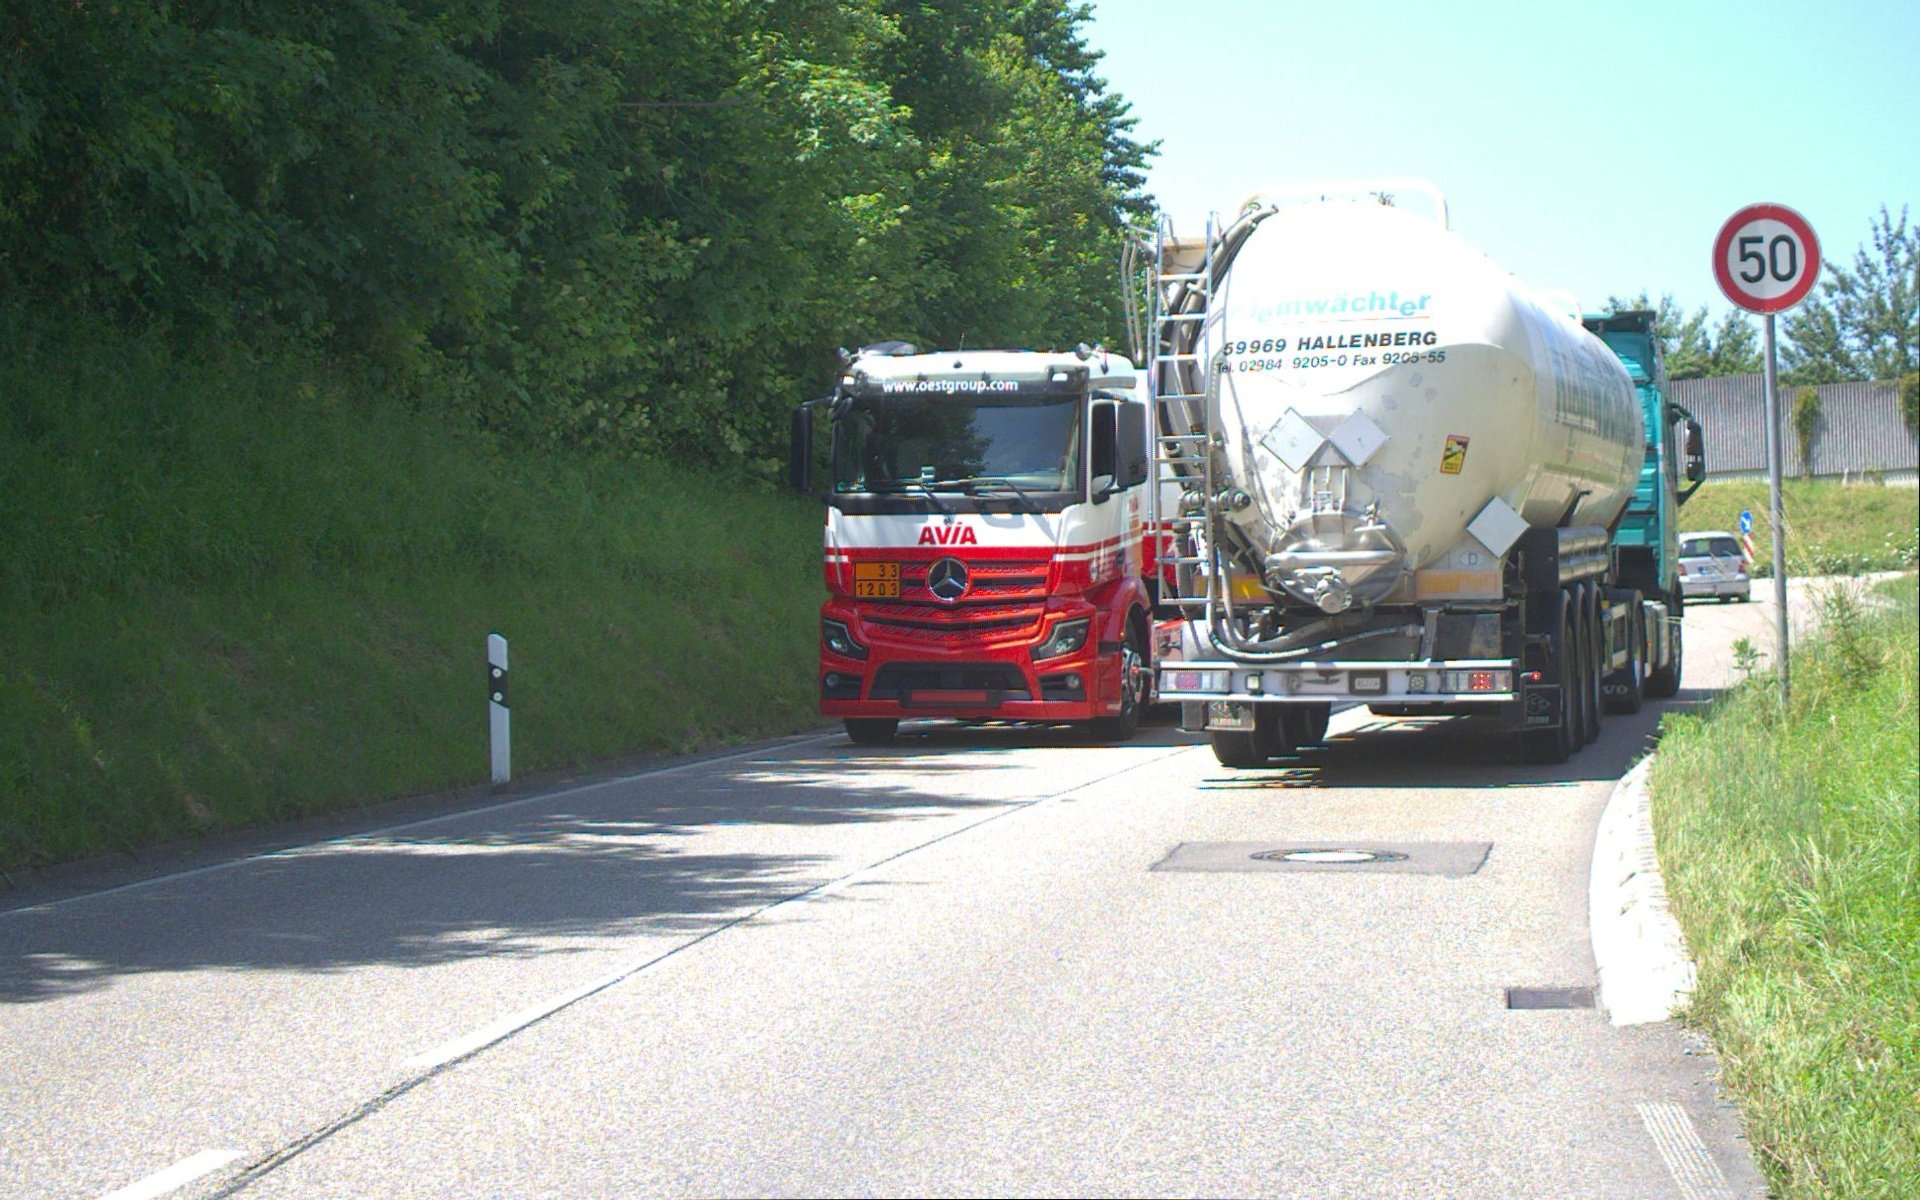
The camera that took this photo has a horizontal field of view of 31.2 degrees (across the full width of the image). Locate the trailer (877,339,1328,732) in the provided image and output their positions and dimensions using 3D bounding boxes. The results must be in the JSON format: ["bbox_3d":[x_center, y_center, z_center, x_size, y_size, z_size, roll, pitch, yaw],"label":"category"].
[{"bbox_3d":[1.802,-0.631,35.294,2.634,3.361,11.137,-1,1,13],"label":"trailer"}]

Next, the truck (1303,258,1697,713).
[{"bbox_3d":[5.452,-1.006,33.579,2.729,3.916,7.257,-1,0,17],"label":"truck"}]

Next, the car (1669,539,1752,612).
[{"bbox_3d":[16.064,-0.504,73.665,1.648,1.504,3.637,1,0,11],"label":"car"}]

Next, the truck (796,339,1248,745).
[{"bbox_3d":[0.758,-0.486,30.709,2.627,3.159,7.064,-1,0,13],"label":"truck"}]

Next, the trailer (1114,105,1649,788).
[{"bbox_3d":[3.757,-1.030,27.192,2.663,4.174,11.897,-1,1,14],"label":"trailer"}]
